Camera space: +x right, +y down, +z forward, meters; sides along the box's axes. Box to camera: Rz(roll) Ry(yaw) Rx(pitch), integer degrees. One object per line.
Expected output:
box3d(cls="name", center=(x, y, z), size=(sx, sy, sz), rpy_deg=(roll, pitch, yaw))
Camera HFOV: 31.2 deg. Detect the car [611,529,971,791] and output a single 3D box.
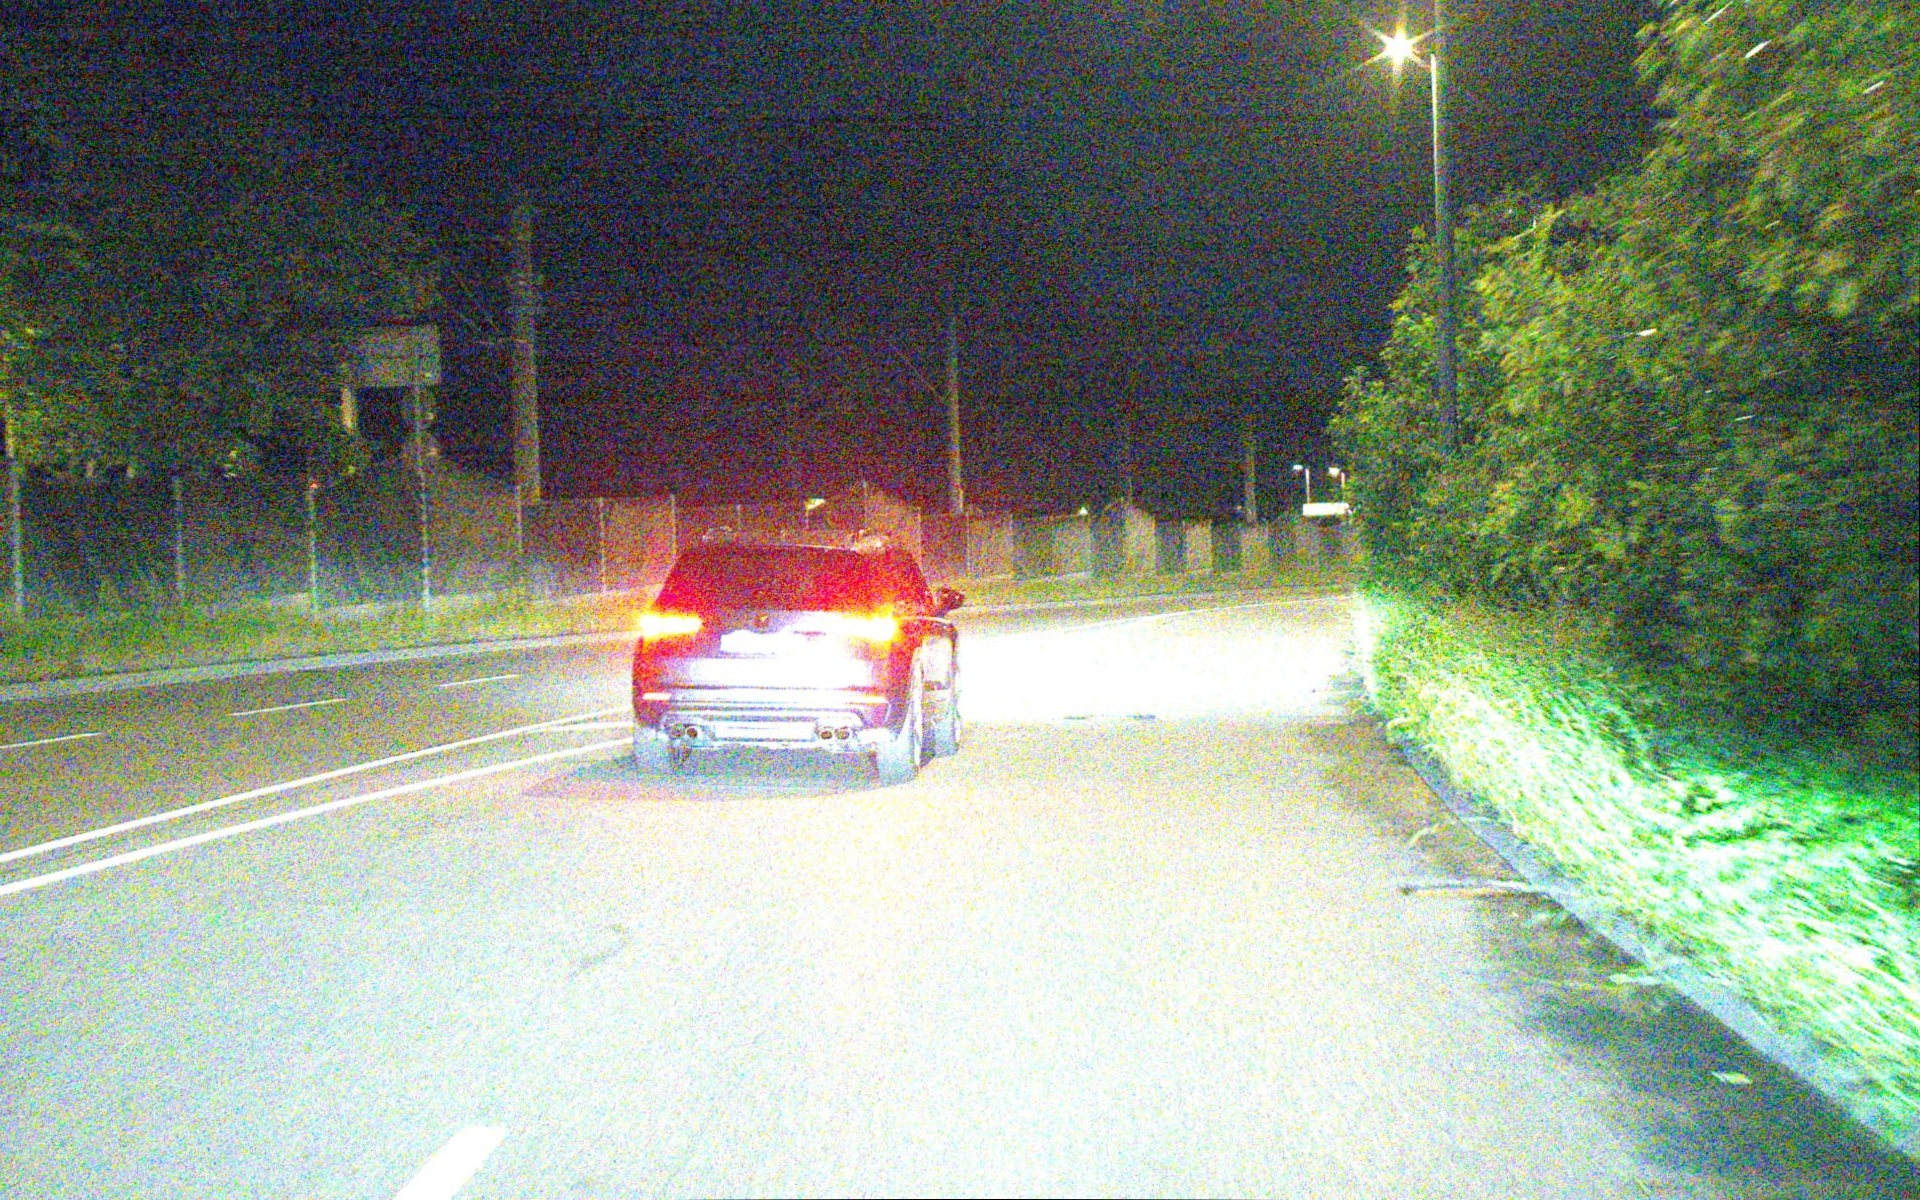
box3d(cls="car", center=(-1.029, 0.323, 22.942), size=(1.815, 1.568, 3.943), rpy_deg=(1, 1, 6))
